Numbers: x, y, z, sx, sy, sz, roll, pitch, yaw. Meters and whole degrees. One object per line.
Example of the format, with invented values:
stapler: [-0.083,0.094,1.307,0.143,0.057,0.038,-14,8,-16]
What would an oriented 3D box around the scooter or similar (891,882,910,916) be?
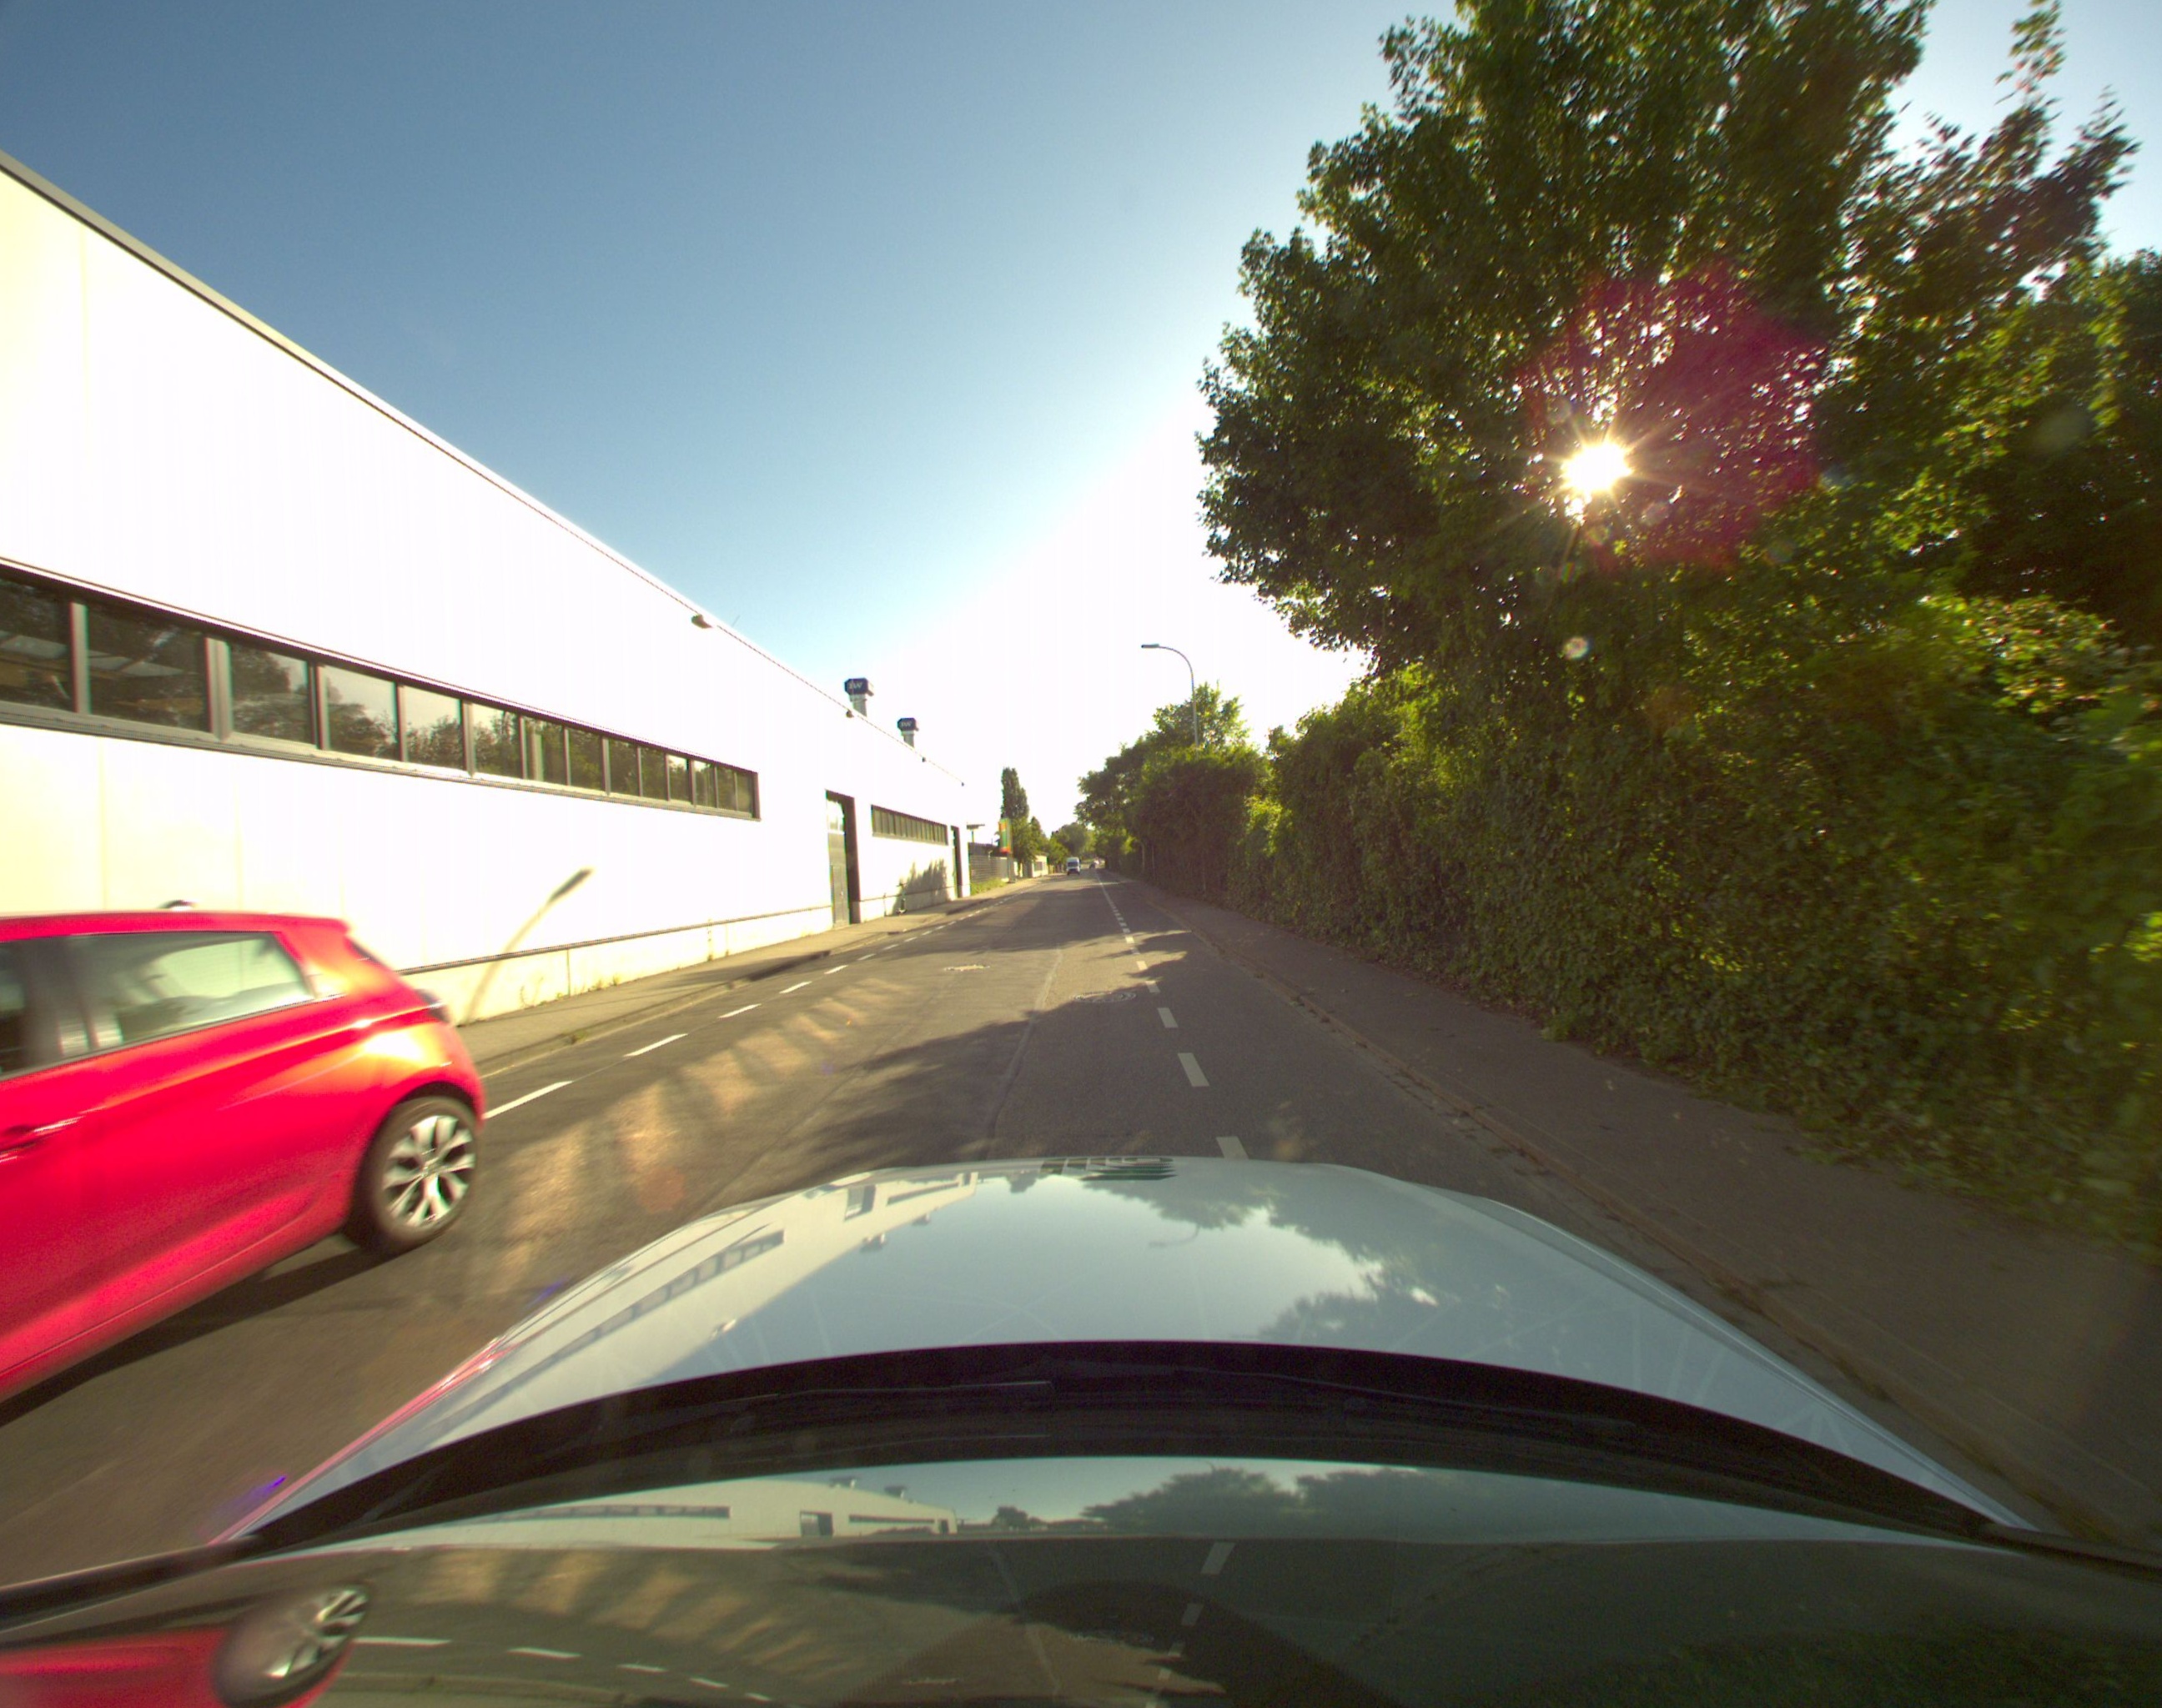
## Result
scooter or similar: [-6.964,1.736,31.498,0.414,1.267,1.059,-4,-1,0]

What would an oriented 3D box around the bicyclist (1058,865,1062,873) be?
bicyclist: [-4.394,3.083,169.836,0.687,1.532,0.722,-2,-1,0]

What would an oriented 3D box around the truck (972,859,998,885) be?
truck: [-10.835,2.023,92.397,2.072,2.761,5.764,-4,-1,0]

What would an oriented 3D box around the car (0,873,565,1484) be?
car: [-3.711,0.939,2.310,1.714,1.539,4.076,-5,0,1]

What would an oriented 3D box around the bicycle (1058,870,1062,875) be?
bicycle: [-4.369,3.790,169.865,0.687,1.034,1.351,-2,-1,1]

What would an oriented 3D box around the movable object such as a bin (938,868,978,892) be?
movable object such as a bin: [-10.450,2.178,69.331,3.030,1.835,1.525,-4,0,-2]

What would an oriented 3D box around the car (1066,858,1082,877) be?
car: [-1.091,2.128,130.153,2.115,2.780,5.927,-6,-1,1]
